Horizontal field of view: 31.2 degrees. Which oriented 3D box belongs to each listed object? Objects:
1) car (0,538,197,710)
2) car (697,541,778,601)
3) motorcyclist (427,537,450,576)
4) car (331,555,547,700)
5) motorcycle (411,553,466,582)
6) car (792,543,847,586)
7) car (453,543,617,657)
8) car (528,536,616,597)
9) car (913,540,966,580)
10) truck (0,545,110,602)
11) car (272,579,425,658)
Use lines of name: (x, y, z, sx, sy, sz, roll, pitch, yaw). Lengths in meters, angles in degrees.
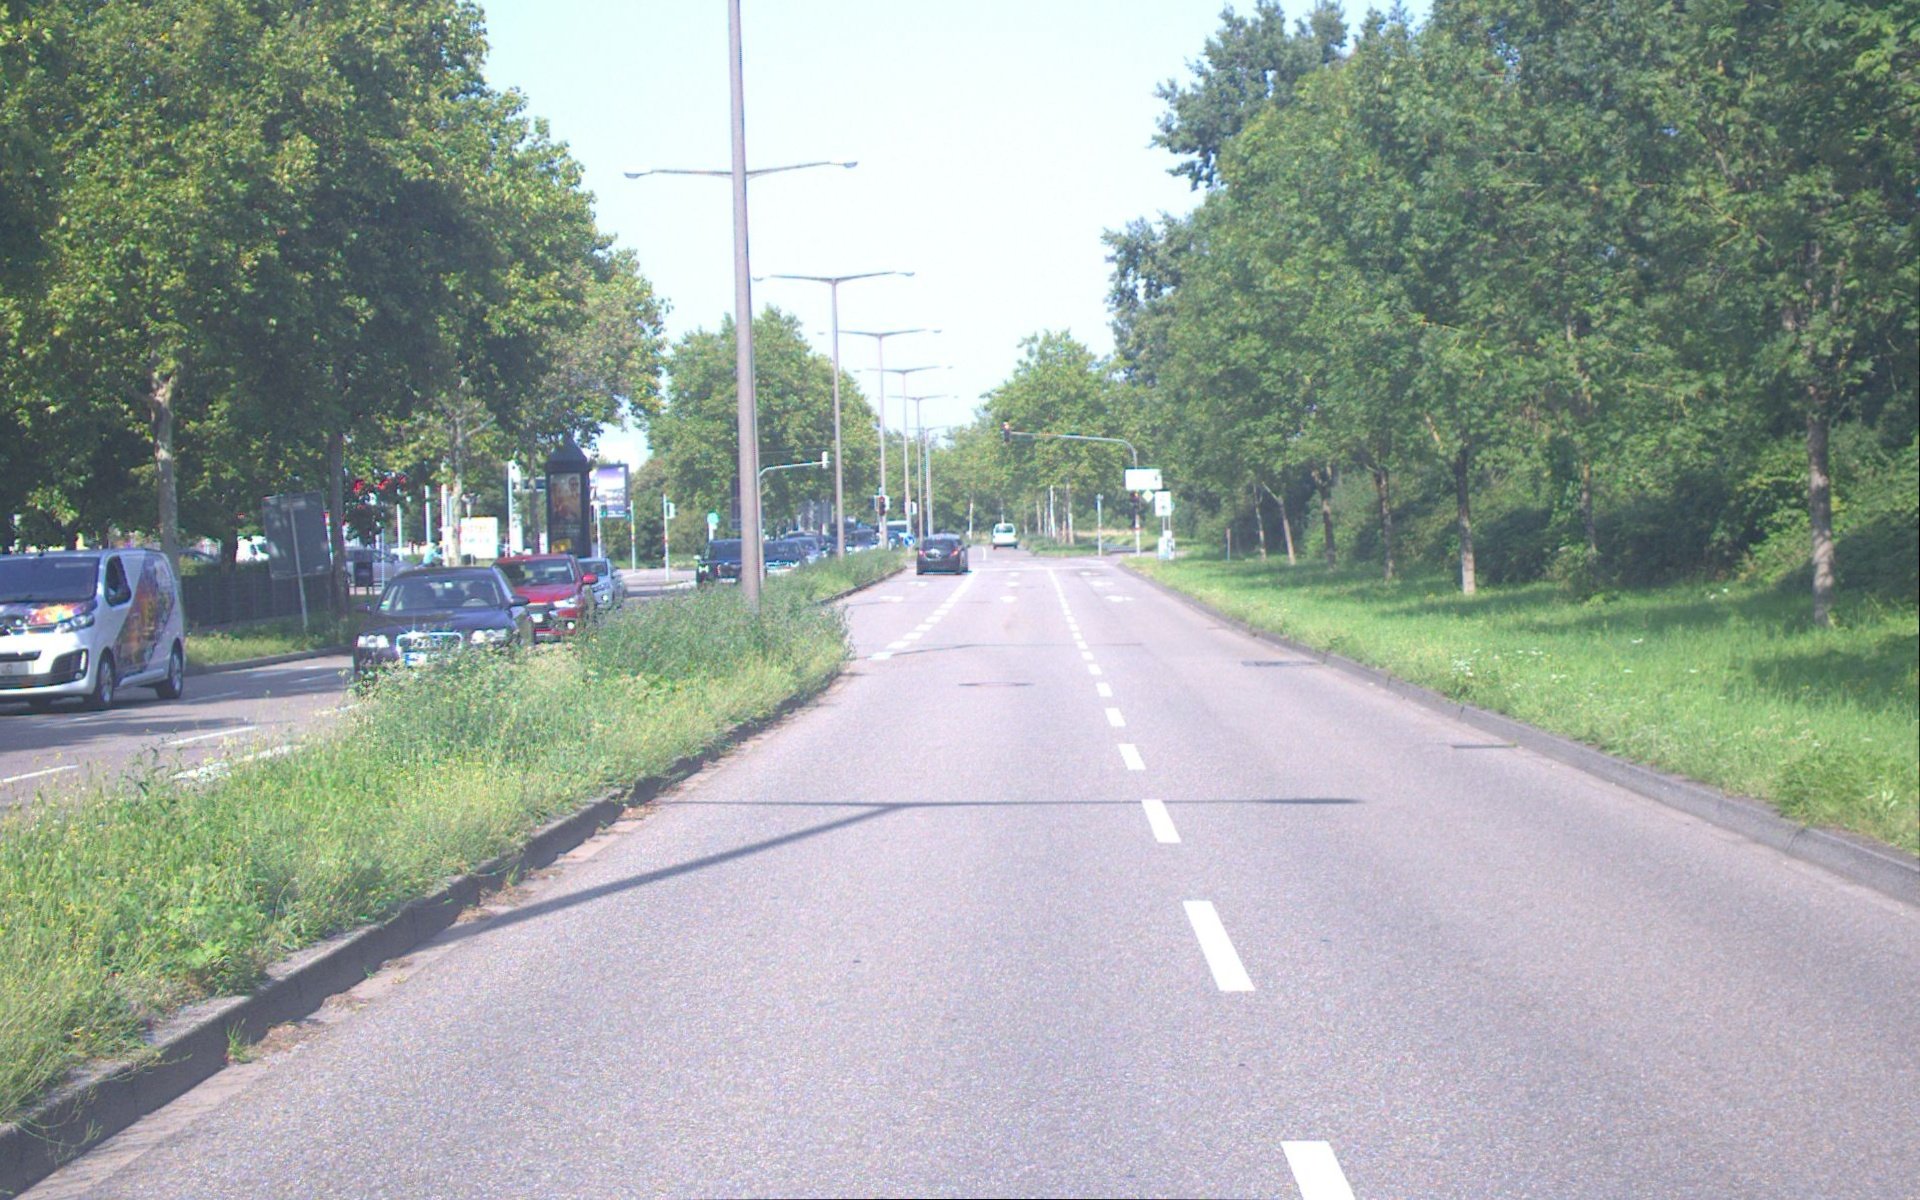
car: (-10.661, 0.265, 40.615, 1.984, 1.852, 4.969, -3, 1, 1)
car: (-6.663, -0.885, 103.335, 1.993, 1.753, 4.477, -1, 1, 1)
motorcyclist: (-21.098, -1.763, 138.999, 0.681, 1.566, 0.683, -1, 1, -34)
car: (-5.940, 0.273, 39.676, 1.746, 1.474, 4.587, -3, 1, 0)
motorcycle: (-21.087, -1.297, 138.991, 2.069, 1.132, 0.677, -1, 0, -34)
car: (-5.451, -1.372, 133.593, 1.879, 1.588, 4.108, 0, 0, 1)
car: (-6.840, -0.035, 55.797, 1.954, 1.718, 4.587, -2, 1, 1)
car: (-9.940, -0.877, 88.334, 1.790, 1.477, 4.000, -2, 1, 0)
car: (-0.789, -1.550, 132.341, 1.692, 1.481, 4.000, -1, 1, 4)
truck: (-52.332, -1.403, 191.313, 8.986, 2.947, 3.514, -3, 1, -34)
car: (-11.036, 0.318, 62.287, 1.791, 1.258, 4.095, -3, 1, 3)
